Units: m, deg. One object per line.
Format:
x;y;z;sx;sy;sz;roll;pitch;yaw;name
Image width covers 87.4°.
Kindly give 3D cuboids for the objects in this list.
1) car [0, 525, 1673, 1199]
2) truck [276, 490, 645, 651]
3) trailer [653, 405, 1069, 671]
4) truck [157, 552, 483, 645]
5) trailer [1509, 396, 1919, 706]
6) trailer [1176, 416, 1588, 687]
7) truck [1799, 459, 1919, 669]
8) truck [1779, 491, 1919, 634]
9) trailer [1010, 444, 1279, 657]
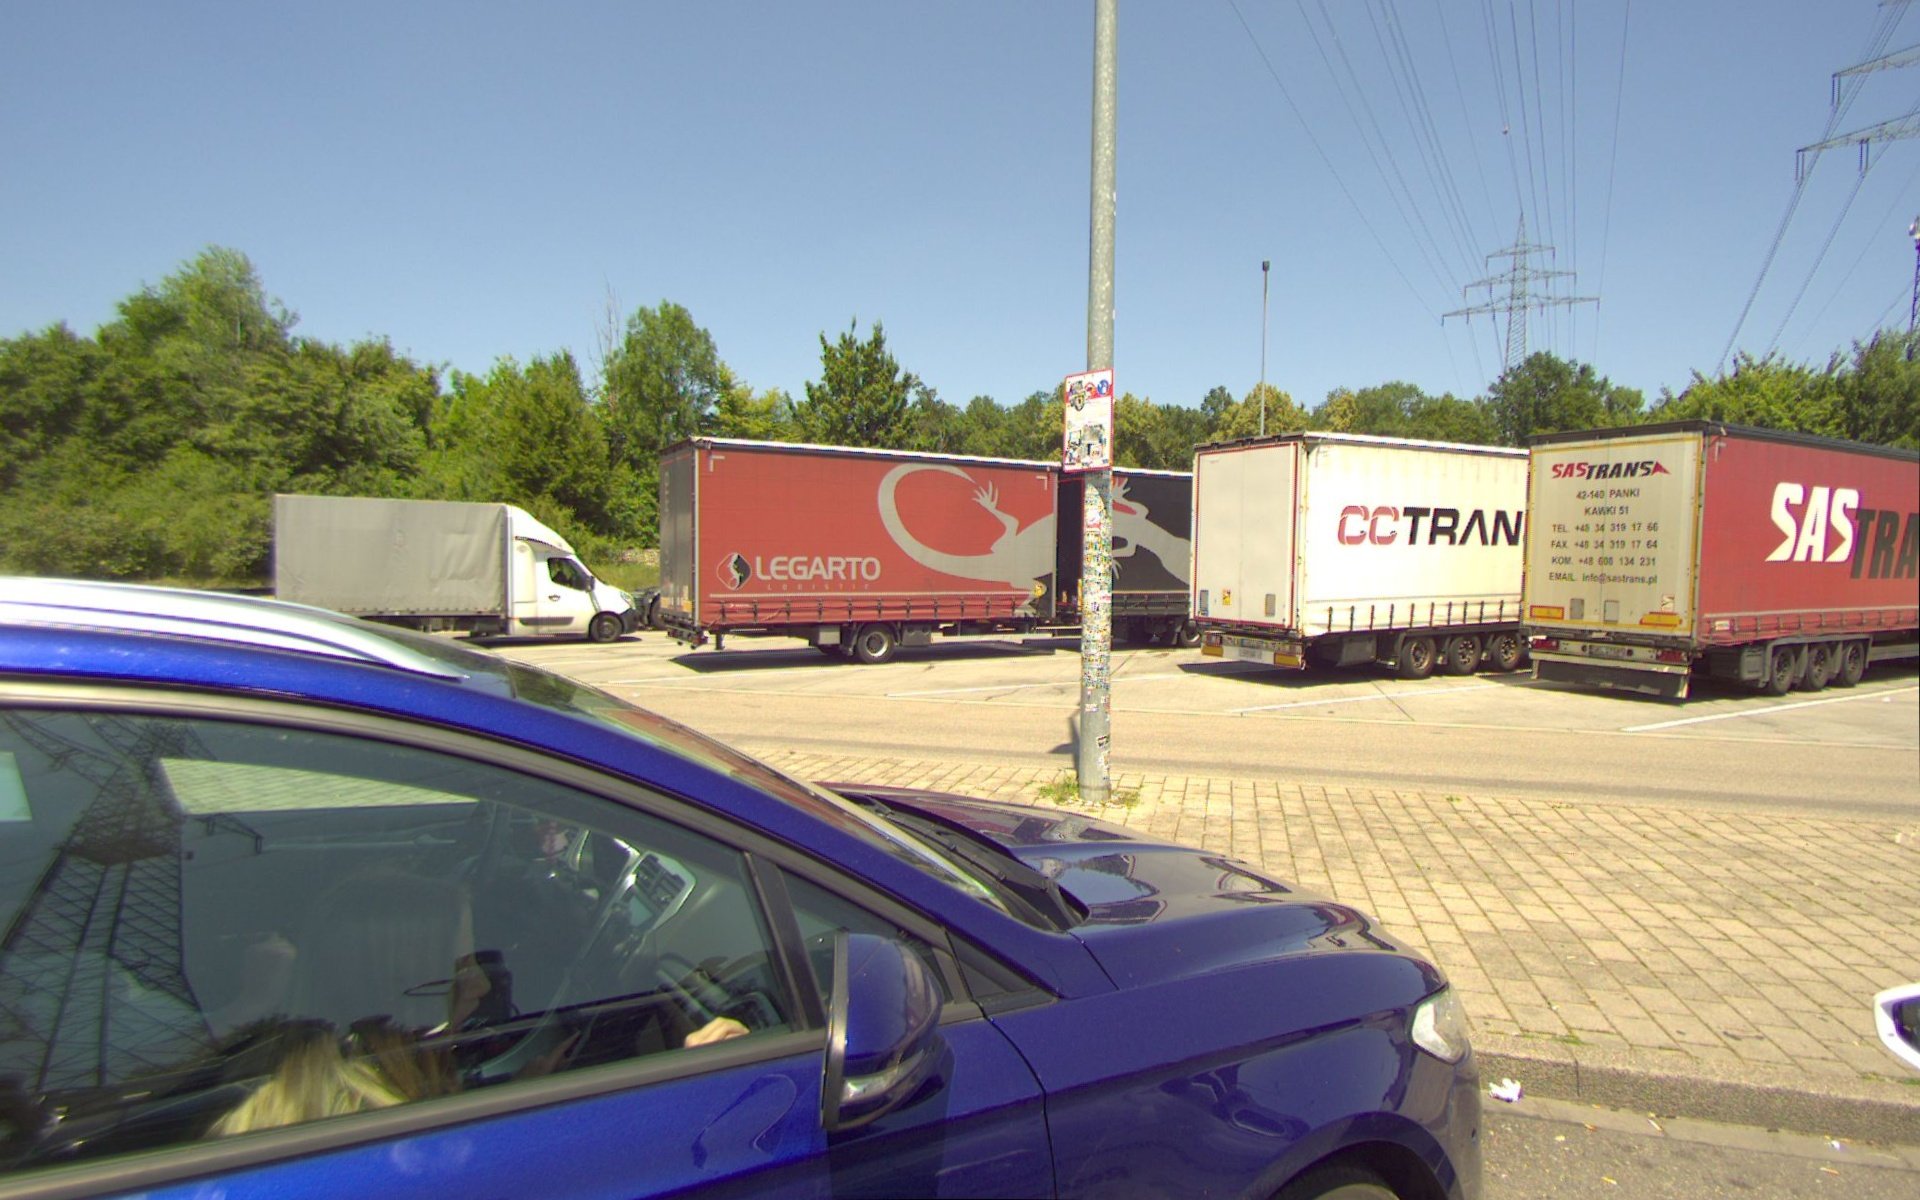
-1.008;0.663;1.486;4.362;1.437;1.731;1;0;-30;car
-11.043;-0.568;22.754;7.171;3.194;2.160;0;1;-30;truck
-1.812;-1.034;20.203;7.963;4.510;2.648;0;0;-31;trailer
-15.394;-0.025;24.682;6.538;2.040;1.984;0;0;-30;truck
15.238;-0.644;18.421;13.046;4.276;2.786;0;0;-31;trailer
8.099;-0.753;18.853;8.189;4.208;2.741;0;1;-30;trailer
21.422;-0.702;22.055;5.824;4.189;2.792;0;0;-30;truck
30.293;-0.988;29.228;9.851;4.087;2.242;2;1;14;truck
4.461;-1.042;24.043;6.076;4.504;2.665;0;0;-30;trailer
